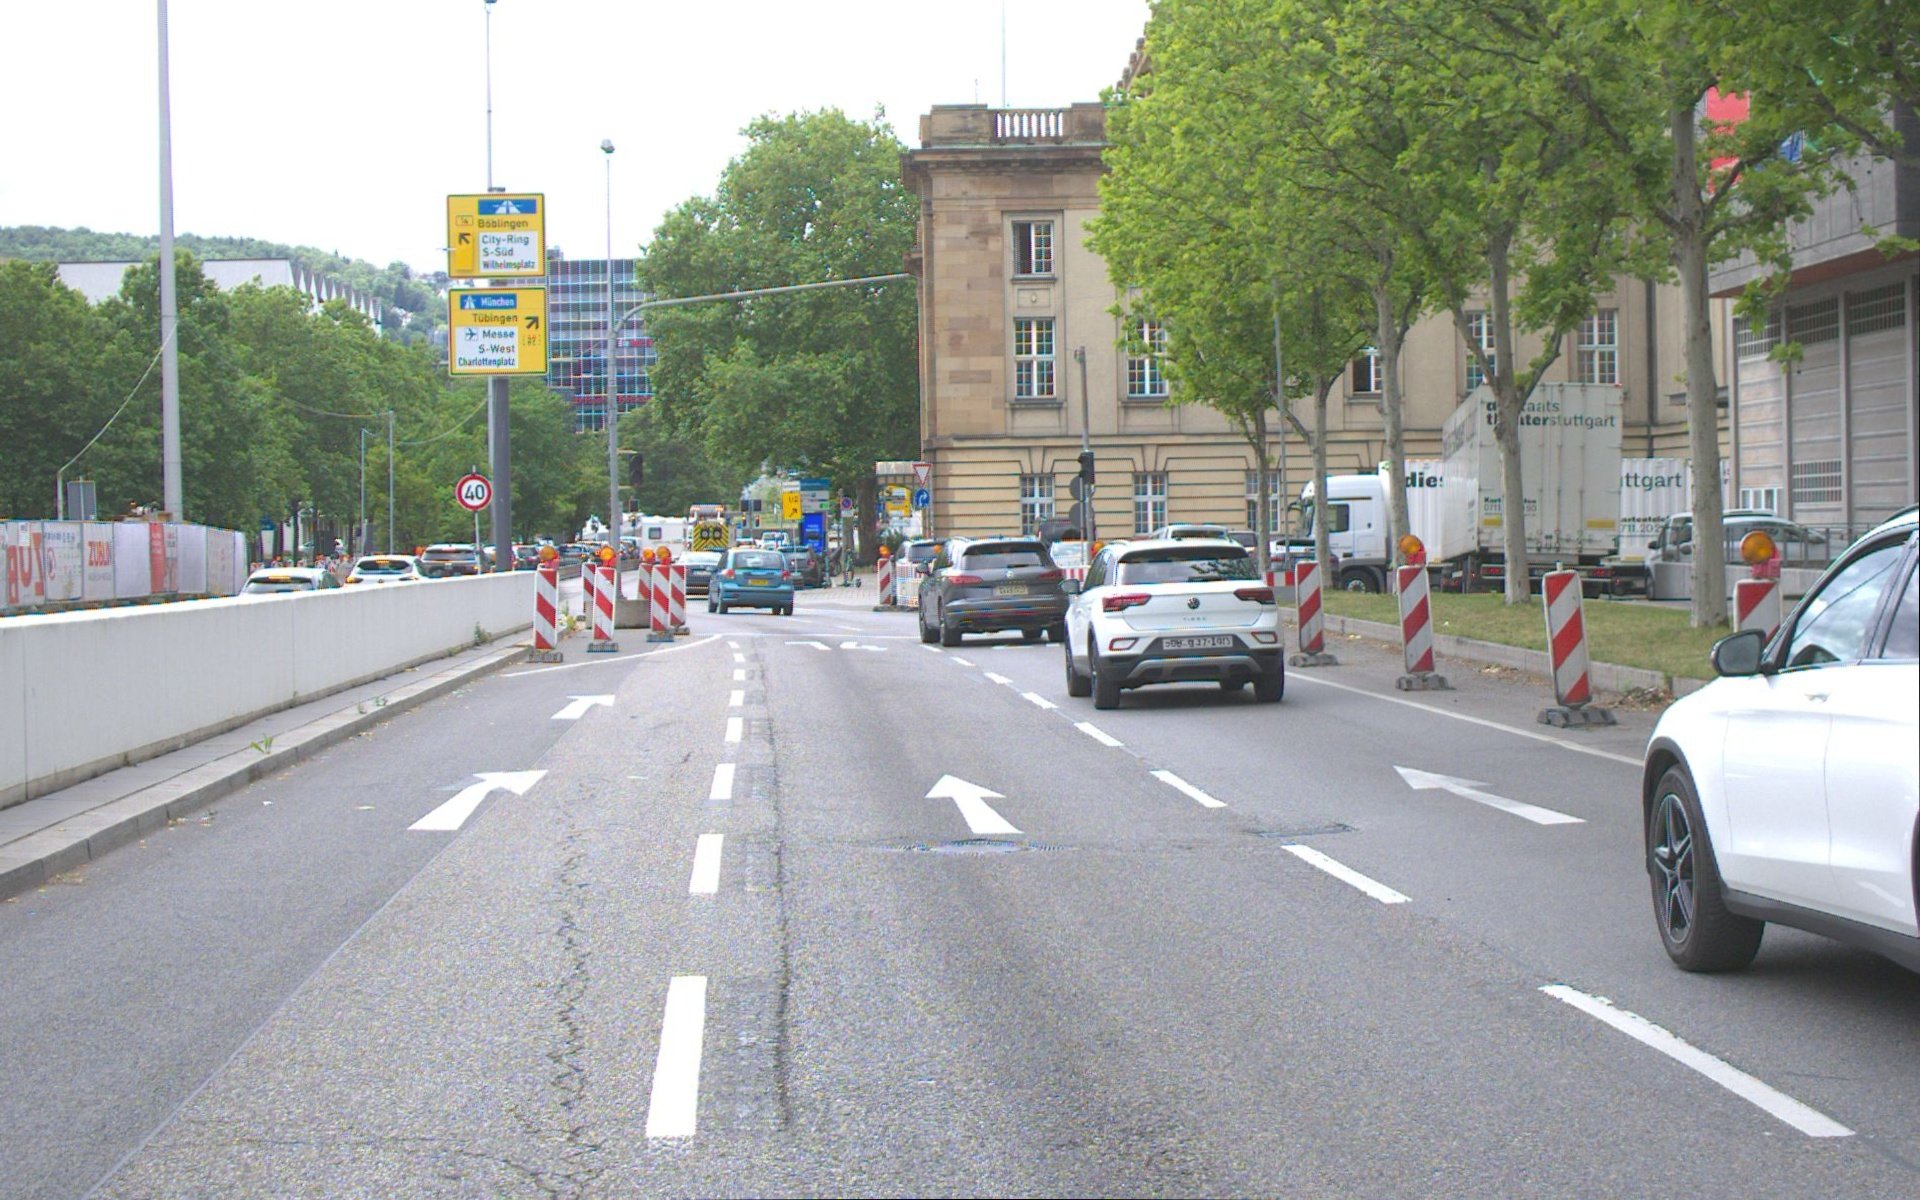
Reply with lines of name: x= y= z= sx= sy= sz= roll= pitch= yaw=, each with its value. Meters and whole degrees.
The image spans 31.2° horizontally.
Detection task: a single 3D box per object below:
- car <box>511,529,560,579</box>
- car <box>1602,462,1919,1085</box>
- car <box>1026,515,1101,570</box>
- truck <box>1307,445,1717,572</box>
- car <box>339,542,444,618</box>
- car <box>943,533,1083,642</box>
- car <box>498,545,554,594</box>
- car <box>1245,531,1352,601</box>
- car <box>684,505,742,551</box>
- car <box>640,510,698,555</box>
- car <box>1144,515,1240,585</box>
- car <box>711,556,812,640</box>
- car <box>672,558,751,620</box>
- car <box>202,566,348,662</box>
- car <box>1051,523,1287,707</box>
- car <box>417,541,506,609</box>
car: x=-18.279 y=-1.990 z=148.165 sx=1.993 sy=2.006 sz=4.001 roll=-1 pitch=3 yaw=-6
car: x=3.423 y=0.415 z=10.465 sx=1.811 sy=1.637 sz=4.553 roll=-3 pitch=3 yaw=-3
car: x=3.007 y=-1.668 z=100.591 sx=1.856 sy=1.562 sz=4.332 roll=-1 pitch=0 yaw=-3
truck: x=14.102 y=-2.327 z=88.274 sx=10.028 sy=3.040 sz=2.569 roll=-1 pitch=0 yaw=-2
car: x=-11.978 y=-0.442 z=72.606 sx=1.750 sy=1.562 sz=3.377 roll=0 pitch=1 yaw=-2
car: x=0.785 y=-0.226 z=53.707 sx=1.823 sy=1.562 sz=4.480 roll=-3 pitch=1 yaw=-3
car: x=-14.470 y=-1.020 z=114.749 sx=1.750 sy=1.562 sz=4.332 roll=-1 pitch=1 yaw=-6
car: x=7.832 y=-0.770 z=79.820 sx=1.856 sy=1.562 sz=4.332 roll=-1 pitch=0 yaw=-3
car: x=-13.389 y=-3.923 z=186.678 sx=2.582 sy=2.366 sz=5.526 roll=-1 pitch=1 yaw=1
car: x=-16.168 y=-3.779 z=191.522 sx=2.582 sy=2.366 sz=5.526 roll=-1 pitch=1 yaw=1
car: x=5.388 y=-1.143 z=80.256 sx=1.750 sy=1.562 sz=4.332 roll=-1 pitch=0 yaw=-3
car: x=-4.414 y=-0.068 z=76.944 sx=1.823 sy=1.734 sz=4.480 roll=-1 pitch=1 yaw=2
car: x=-7.302 y=-0.310 z=101.241 sx=1.823 sy=1.735 sz=4.479 roll=-2 pitch=0 yaw=2
car: x=-11.728 y=0.213 z=59.099 sx=1.750 sy=1.562 sz=4.332 roll=-1 pitch=1 yaw=-2
car: x=1.956 y=0.103 z=33.421 sx=1.750 sy=1.562 sz=4.332 roll=-4 pitch=1 yaw=-3
car: x=-12.379 y=-0.643 z=85.530 sx=1.750 sy=1.562 sz=3.377 roll=-3 pitch=1 yaw=-2
